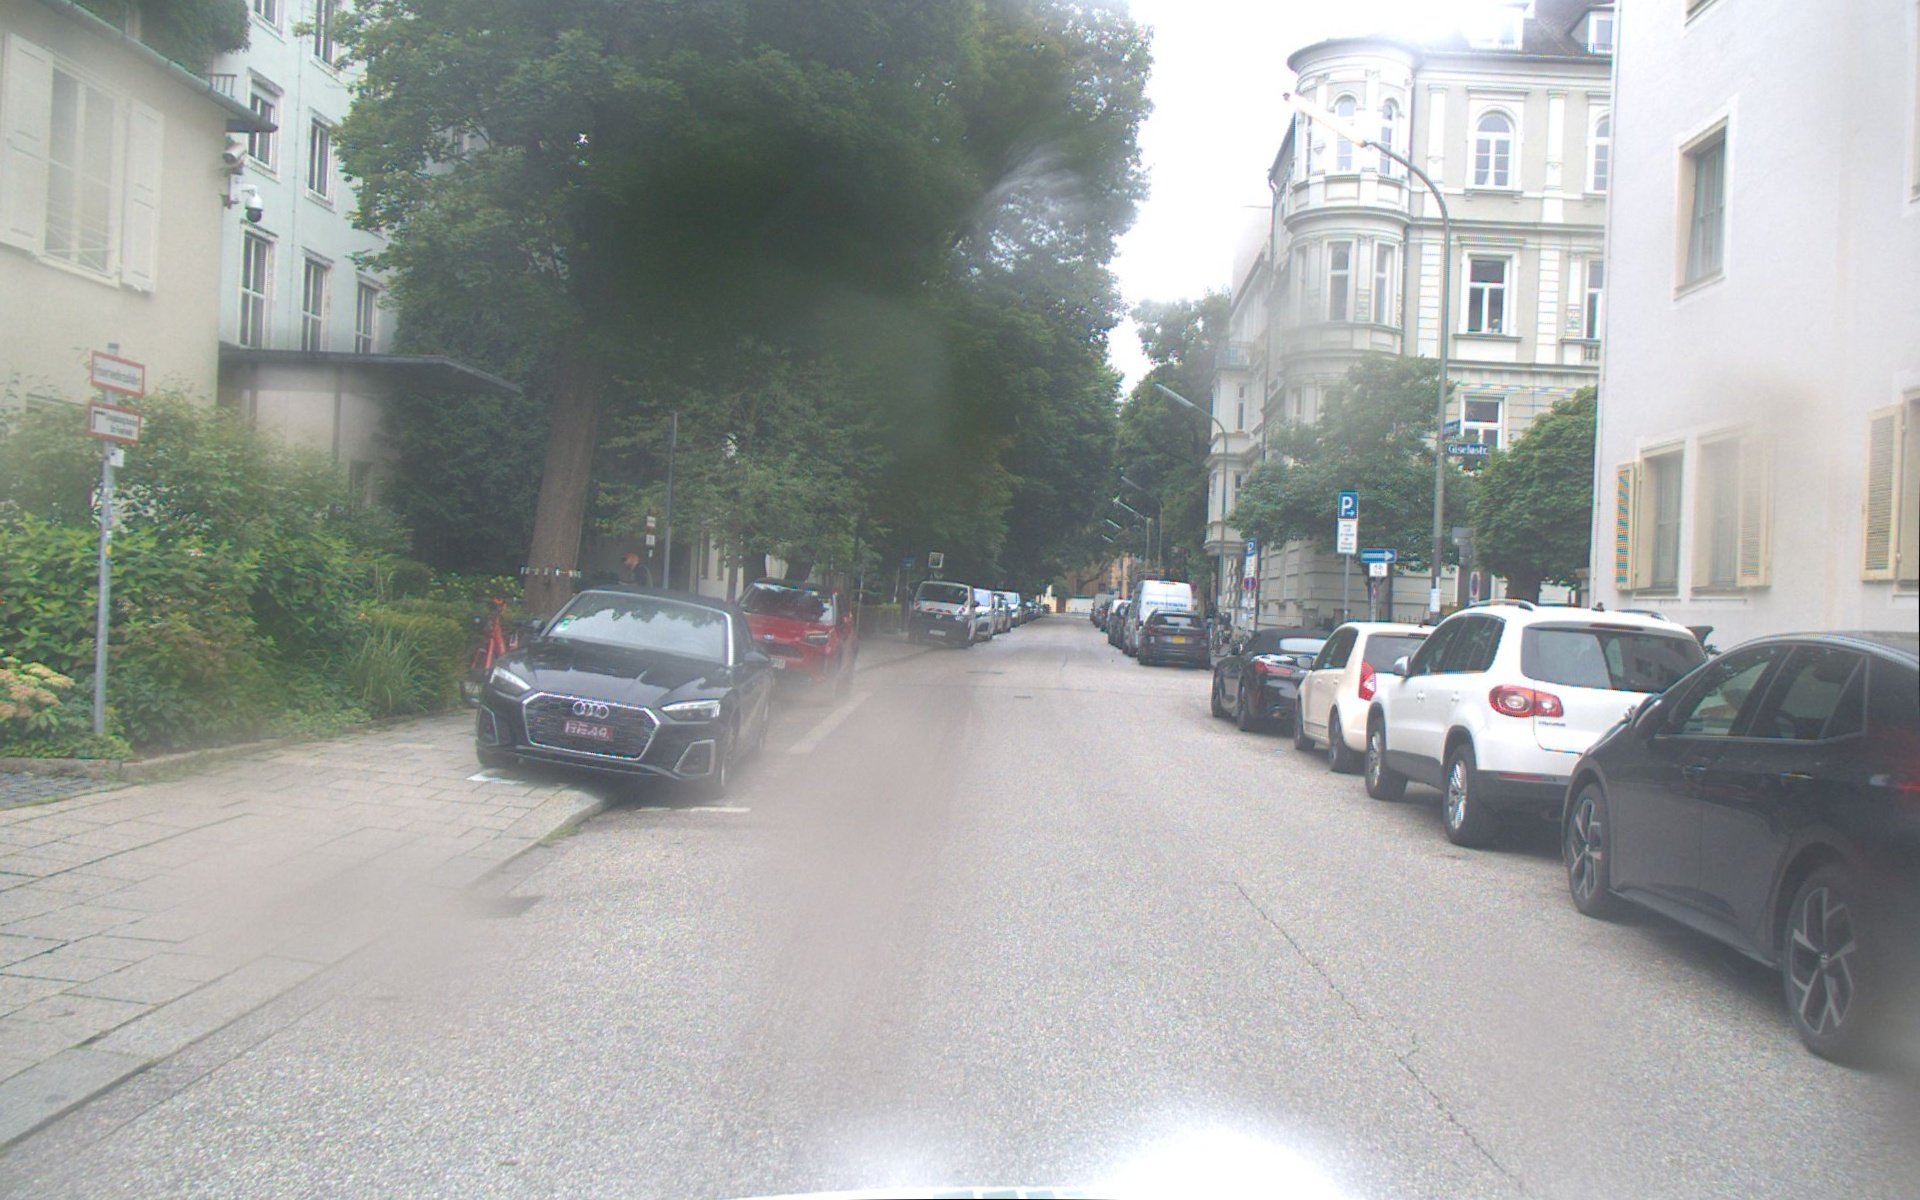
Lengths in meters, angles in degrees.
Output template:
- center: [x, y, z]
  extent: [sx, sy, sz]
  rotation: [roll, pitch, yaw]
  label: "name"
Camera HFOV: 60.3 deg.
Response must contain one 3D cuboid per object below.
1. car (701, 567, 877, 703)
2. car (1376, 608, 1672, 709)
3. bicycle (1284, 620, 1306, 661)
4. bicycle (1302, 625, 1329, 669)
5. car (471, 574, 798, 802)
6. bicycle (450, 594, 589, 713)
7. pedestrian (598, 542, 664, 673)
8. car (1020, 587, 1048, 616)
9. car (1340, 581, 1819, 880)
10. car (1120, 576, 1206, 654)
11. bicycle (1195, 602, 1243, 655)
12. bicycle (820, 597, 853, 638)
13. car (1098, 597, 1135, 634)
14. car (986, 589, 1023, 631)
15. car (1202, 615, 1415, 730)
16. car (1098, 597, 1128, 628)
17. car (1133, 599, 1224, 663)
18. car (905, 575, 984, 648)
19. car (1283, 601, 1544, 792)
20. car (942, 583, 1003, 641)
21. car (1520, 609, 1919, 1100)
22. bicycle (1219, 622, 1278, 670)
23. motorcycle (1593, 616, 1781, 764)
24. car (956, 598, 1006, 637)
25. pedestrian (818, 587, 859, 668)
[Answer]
- center: [-2.296, 0.448, 23.382]
  extent: [1.848, 1.618, 4.528]
  rotation: [4, 0, 1]
  label: "car"
- center: [10.406, 1.066, 30.783]
  extent: [4.805, 1.558, 1.914]
  rotation: [2, 2, 1]
  label: "car"
- center: [9.414, 1.124, 46.460]
  extent: [0.534, 1.079, 1.752]
  rotation: [2, 0, 12]
  label: "bicycle"
- center: [9.215, 1.206, 42.909]
  extent: [0.421, 1.046, 1.892]
  rotation: [2, 1, 5]
  label: "bicycle"
- center: [-2.439, 0.593, 13.645]
  extent: [1.771, 1.426, 4.922]
  rotation: [4, 0, -2]
  label: "car"
- center: [-4.575, 0.528, 17.334]
  extent: [0.635, 1.150, 2.049]
  rotation: [2, 0, 8]
  label: "bicycle"
- center: [-4.915, 0.115, 24.750]
  extent: [0.698, 1.884, 0.797]
  rotation: [4, -1, 1]
  label: "pedestrian"
- center: [6.079, 0.117, 136.028]
  extent: [2.005, 2.192, 4.314]
  rotation: [4, 0, 1]
  label: "car"
- center: [4.434, 0.817, 12.713]
  extent: [1.953, 1.736, 4.535]
  rotation: [4, 0, 1]
  label: "car"
- center: [6.230, 0.468, 51.279]
  extent: [2.158, 2.247, 4.856]
  rotation: [1, 0, 2]
  label: "car"
- center: [7.934, 0.862, 50.685]
  extent: [0.695, 1.542, 2.032]
  rotation: [2, 0, -13]
  label: "bicycle"
- center: [-3.573, 0.516, 47.959]
  extent: [0.619, 1.122, 1.768]
  rotation: [4, 0, 5]
  label: "bicycle"
- center: [8.918, 0.854, 94.264]
  extent: [1.951, 2.010, 4.002]
  rotation: [2, 0, 5]
  label: "car"
- center: [2.625, 0.569, 96.158]
  extent: [1.961, 2.224, 4.697]
  rotation: [4, 0, 3]
  label: "car"
- center: [4.527, 0.893, 22.214]
  extent: [1.958, 1.342, 4.596]
  rotation: [0, 0, 1]
  label: "car"
- center: [10.519, 0.825, 113.400]
  extent: [1.951, 2.049, 4.002]
  rotation: [2, 0, 5]
  label: "car"
- center: [5.784, 0.803, 44.323]
  extent: [2.224, 1.573, 4.589]
  rotation: [1, 0, 5]
  label: "car"
- center: [-0.417, 0.341, 51.511]
  extent: [2.202, 1.990, 5.454]
  rotation: [4, 0, 1]
  label: "car"
- center: [4.605, 0.907, 17.333]
  extent: [1.735, 1.572, 3.713]
  rotation: [7, 0, 3]
  label: "car"
- center: [0.483, 0.437, 63.205]
  extent: [2.139, 1.990, 5.167]
  rotation: [4, 0, 1]
  label: "car"
- center: [4.099, 0.861, 7.414]
  extent: [1.800, 1.558, 4.417]
  rotation: [2, 0, 2]
  label: "car"
- center: [7.086, 1.112, 40.787]
  extent: [0.642, 1.046, 2.196]
  rotation: [2, 1, -12]
  label: "bicycle"
- center: [8.014, 0.941, 18.409]
  extent: [0.839, 1.458, 2.706]
  rotation: [2, 0, -1]
  label: "motorcycle"
- center: [0.979, 0.775, 74.608]
  extent: [2.026, 1.546, 4.239]
  rotation: [4, 0, 3]
  label: "car"
- center: [-2.469, 0.553, 33.736]
  extent: [0.699, 1.575, 0.752]
  rotation: [4, 0, -2]
  label: "pedestrian"
